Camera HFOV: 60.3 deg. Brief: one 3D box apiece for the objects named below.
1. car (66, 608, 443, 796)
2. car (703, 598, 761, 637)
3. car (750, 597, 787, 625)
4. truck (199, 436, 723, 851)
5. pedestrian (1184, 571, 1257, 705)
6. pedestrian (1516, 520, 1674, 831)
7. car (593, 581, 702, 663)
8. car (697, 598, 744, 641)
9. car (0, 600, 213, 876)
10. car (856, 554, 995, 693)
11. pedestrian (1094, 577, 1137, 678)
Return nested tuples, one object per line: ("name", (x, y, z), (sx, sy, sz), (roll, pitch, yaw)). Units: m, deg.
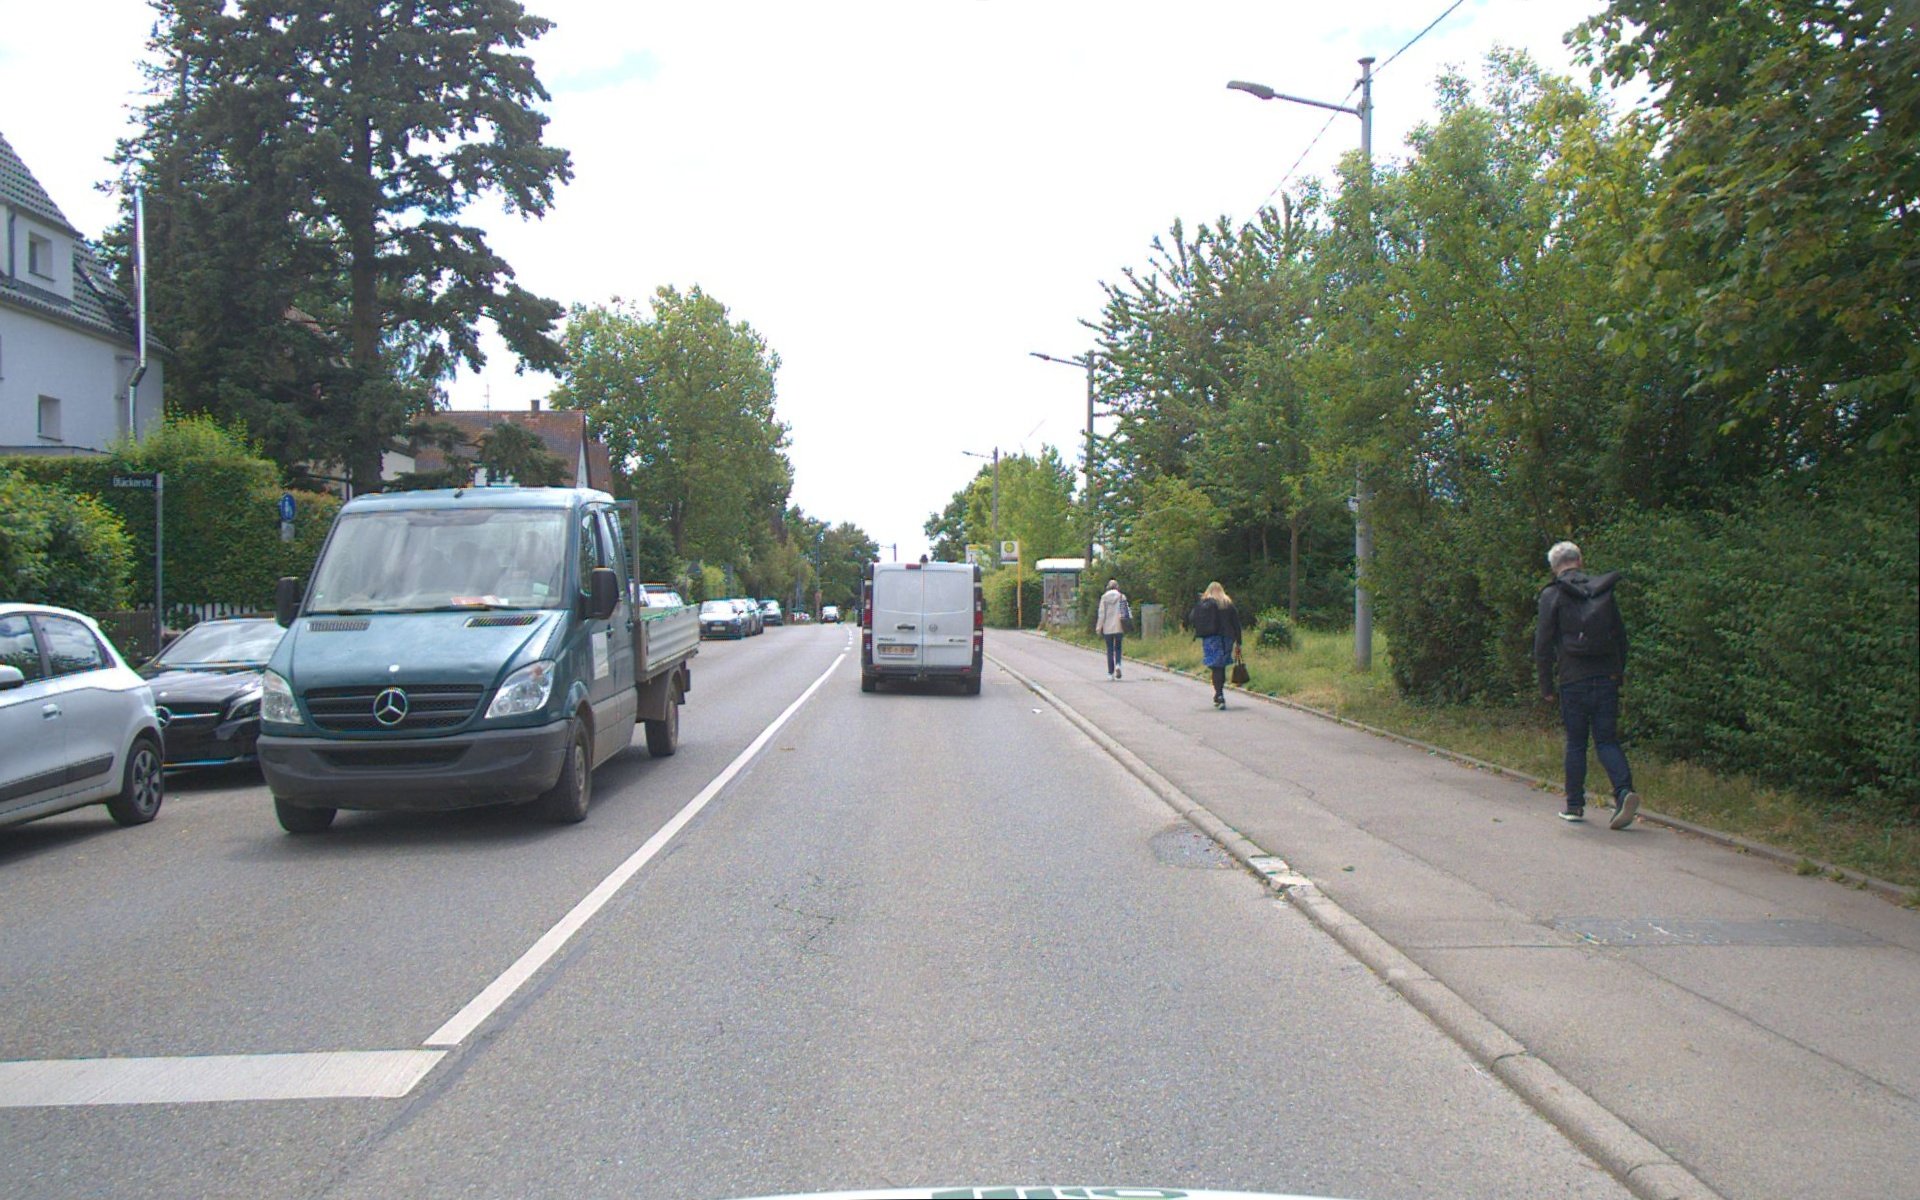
("car", (-6.492, 0.853, 15.795), (1.707, 1.435, 4.323), (-2, 0, 0))
("car", (-9.032, 0.678, 65.945), (1.829, 1.484, 4.487), (-1, 0, -2))
("car", (-12.793, 0.718, 110.109), (2.094, 1.803, 4.452), (1, 0, -11))
("truck", (-3.471, 0.230, 13.327), (2.144, 2.413, 6.903), (-2, 0, -1))
("pedestrian", (3.364, 0.479, 21.403), (0.822, 1.688, 0.766), (1, 0, 2))
("pedestrian", (4.074, 0.466, 10.668), (0.729, 1.915, 0.802), (1, 0, 4))
("car", (-7.529, 0.483, 40.254), (1.945, 1.851, 4.705), (0, 0, -3))
("car", (-8.804, 0.703, 61.034), (1.620, 1.452, 3.899), (-2, 1, -7))
("car", (-6.385, 0.828, 10.364), (1.668, 1.570, 3.742), (-2, 0, 0))
("car", (-0.535, 0.345, 26.485), (1.993, 1.979, 4.992), (1, 0, -1))
("pedestrian", (2.640, 0.458, 28.105), (0.671, 1.688, 0.690), (1, 0, 2))
